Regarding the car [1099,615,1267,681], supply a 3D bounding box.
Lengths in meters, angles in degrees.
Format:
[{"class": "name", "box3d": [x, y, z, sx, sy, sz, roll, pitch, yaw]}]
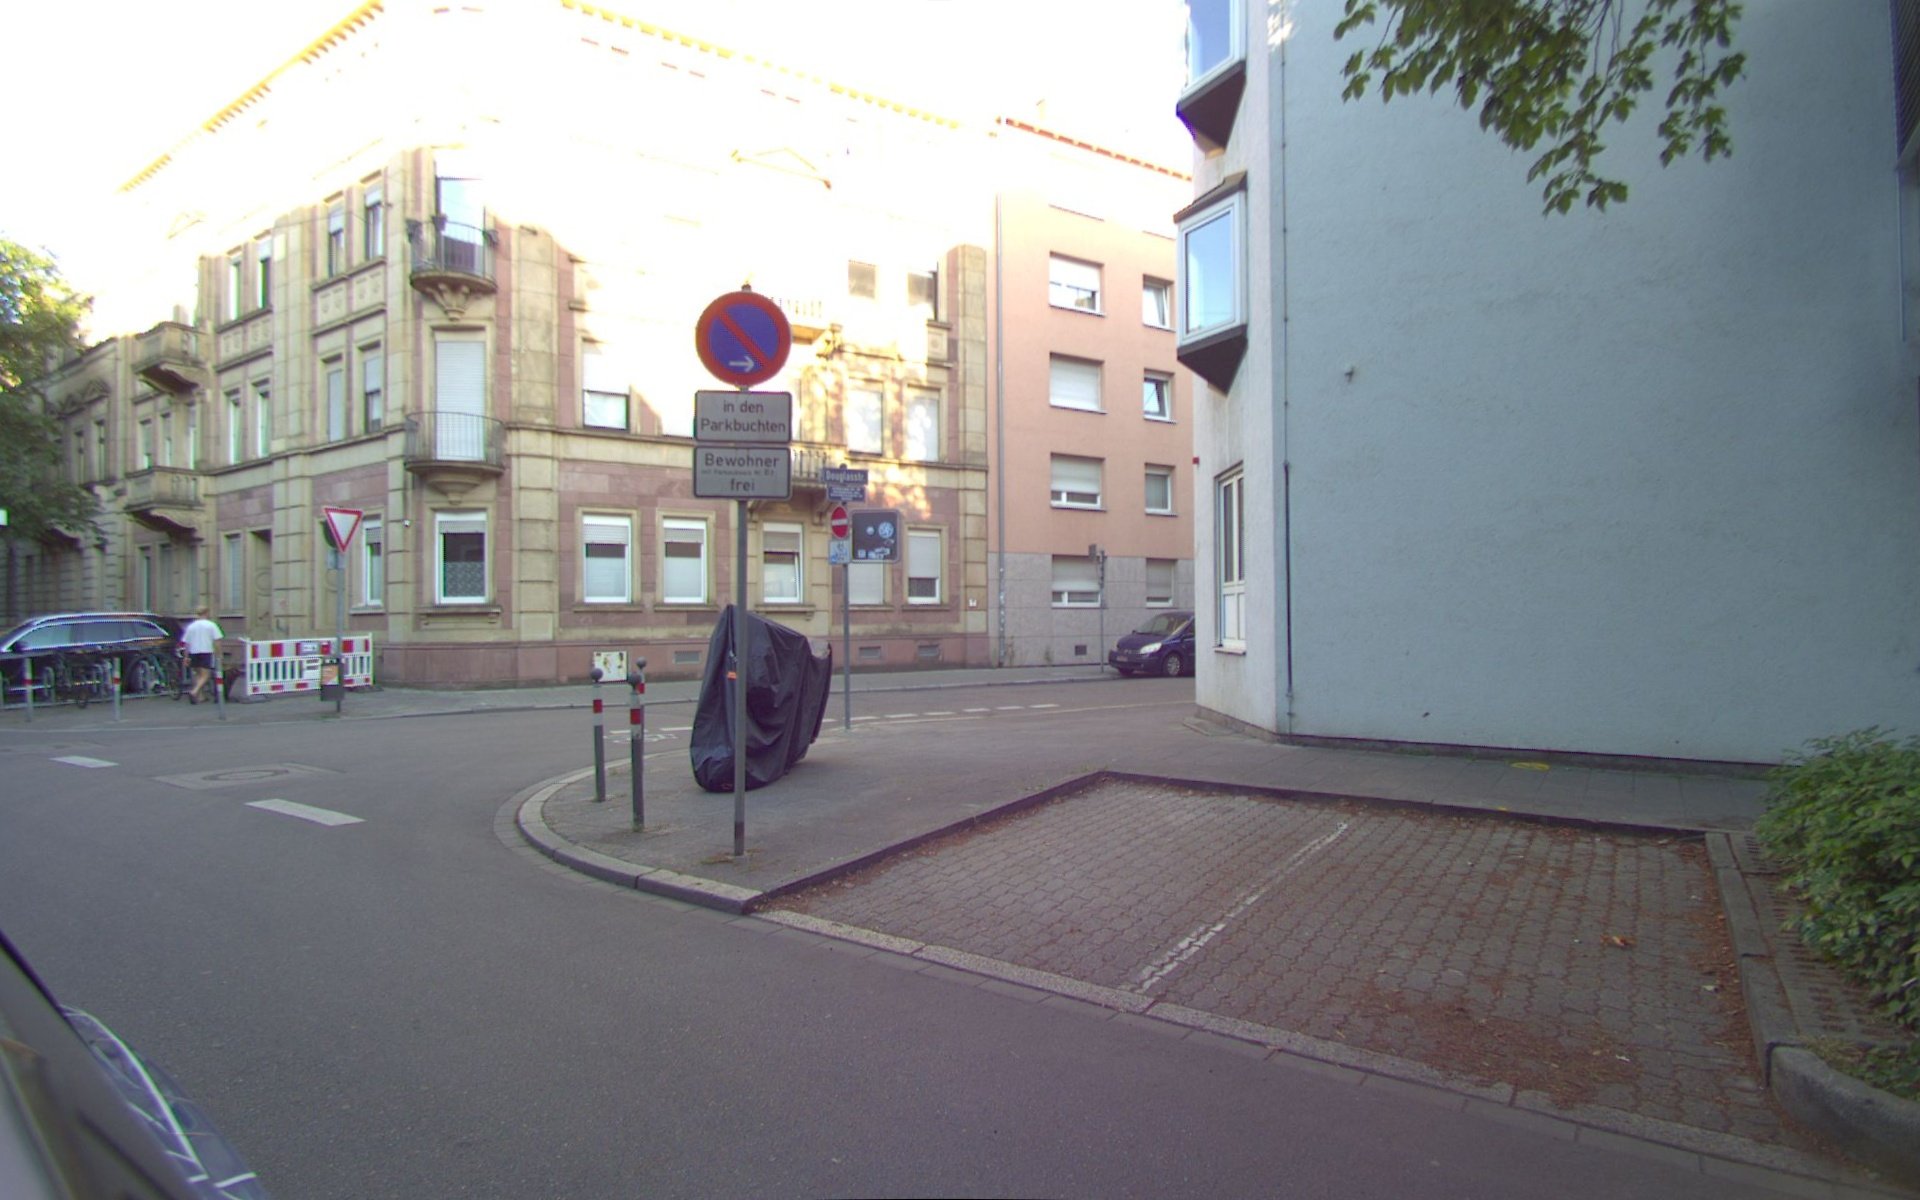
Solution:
[{"class": "car", "box3d": [5.742, 1.168, 25.852, 4.297, 1.529, 1.789, 1, -2, -36]}]

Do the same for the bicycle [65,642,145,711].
[{"class": "bicycle", "box3d": [-15.266, 1.332, 18.053, 2.034, 1.159, 0.555, -1, -1, 34]}]

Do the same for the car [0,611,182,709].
[{"class": "car", "box3d": [-17.906, 1.115, 19.472, 1.740, 1.795, 4.368, -1, -2, 38]}]

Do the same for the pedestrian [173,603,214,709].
[{"class": "pedestrian", "box3d": [-13.545, 0.974, 17.882, 0.564, 1.821, 0.652, 0, -1, -39]}]

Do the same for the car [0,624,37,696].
[{"class": "car", "box3d": [-24.300, 1.415, 23.392, 1.740, 1.690, 4.190, -1, -2, 39]}]

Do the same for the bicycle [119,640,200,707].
[{"class": "bicycle", "box3d": [-14.795, 1.334, 18.681, 2.033, 1.159, 0.556, -1, -1, 33]}]

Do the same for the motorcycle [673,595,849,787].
[{"class": "motorcycle", "box3d": [-1.720, 0.747, 9.202, 0.809, 1.516, 2.276, -1, -1, 10]}]

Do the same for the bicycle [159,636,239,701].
[{"class": "bicycle", "box3d": [-14.440, 1.273, 19.184, 2.033, 1.159, 0.556, -1, -1, 33]}]

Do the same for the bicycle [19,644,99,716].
[{"class": "bicycle", "box3d": [-15.619, 1.356, 17.524, 2.034, 1.159, 0.555, -1, -1, 34]}]
